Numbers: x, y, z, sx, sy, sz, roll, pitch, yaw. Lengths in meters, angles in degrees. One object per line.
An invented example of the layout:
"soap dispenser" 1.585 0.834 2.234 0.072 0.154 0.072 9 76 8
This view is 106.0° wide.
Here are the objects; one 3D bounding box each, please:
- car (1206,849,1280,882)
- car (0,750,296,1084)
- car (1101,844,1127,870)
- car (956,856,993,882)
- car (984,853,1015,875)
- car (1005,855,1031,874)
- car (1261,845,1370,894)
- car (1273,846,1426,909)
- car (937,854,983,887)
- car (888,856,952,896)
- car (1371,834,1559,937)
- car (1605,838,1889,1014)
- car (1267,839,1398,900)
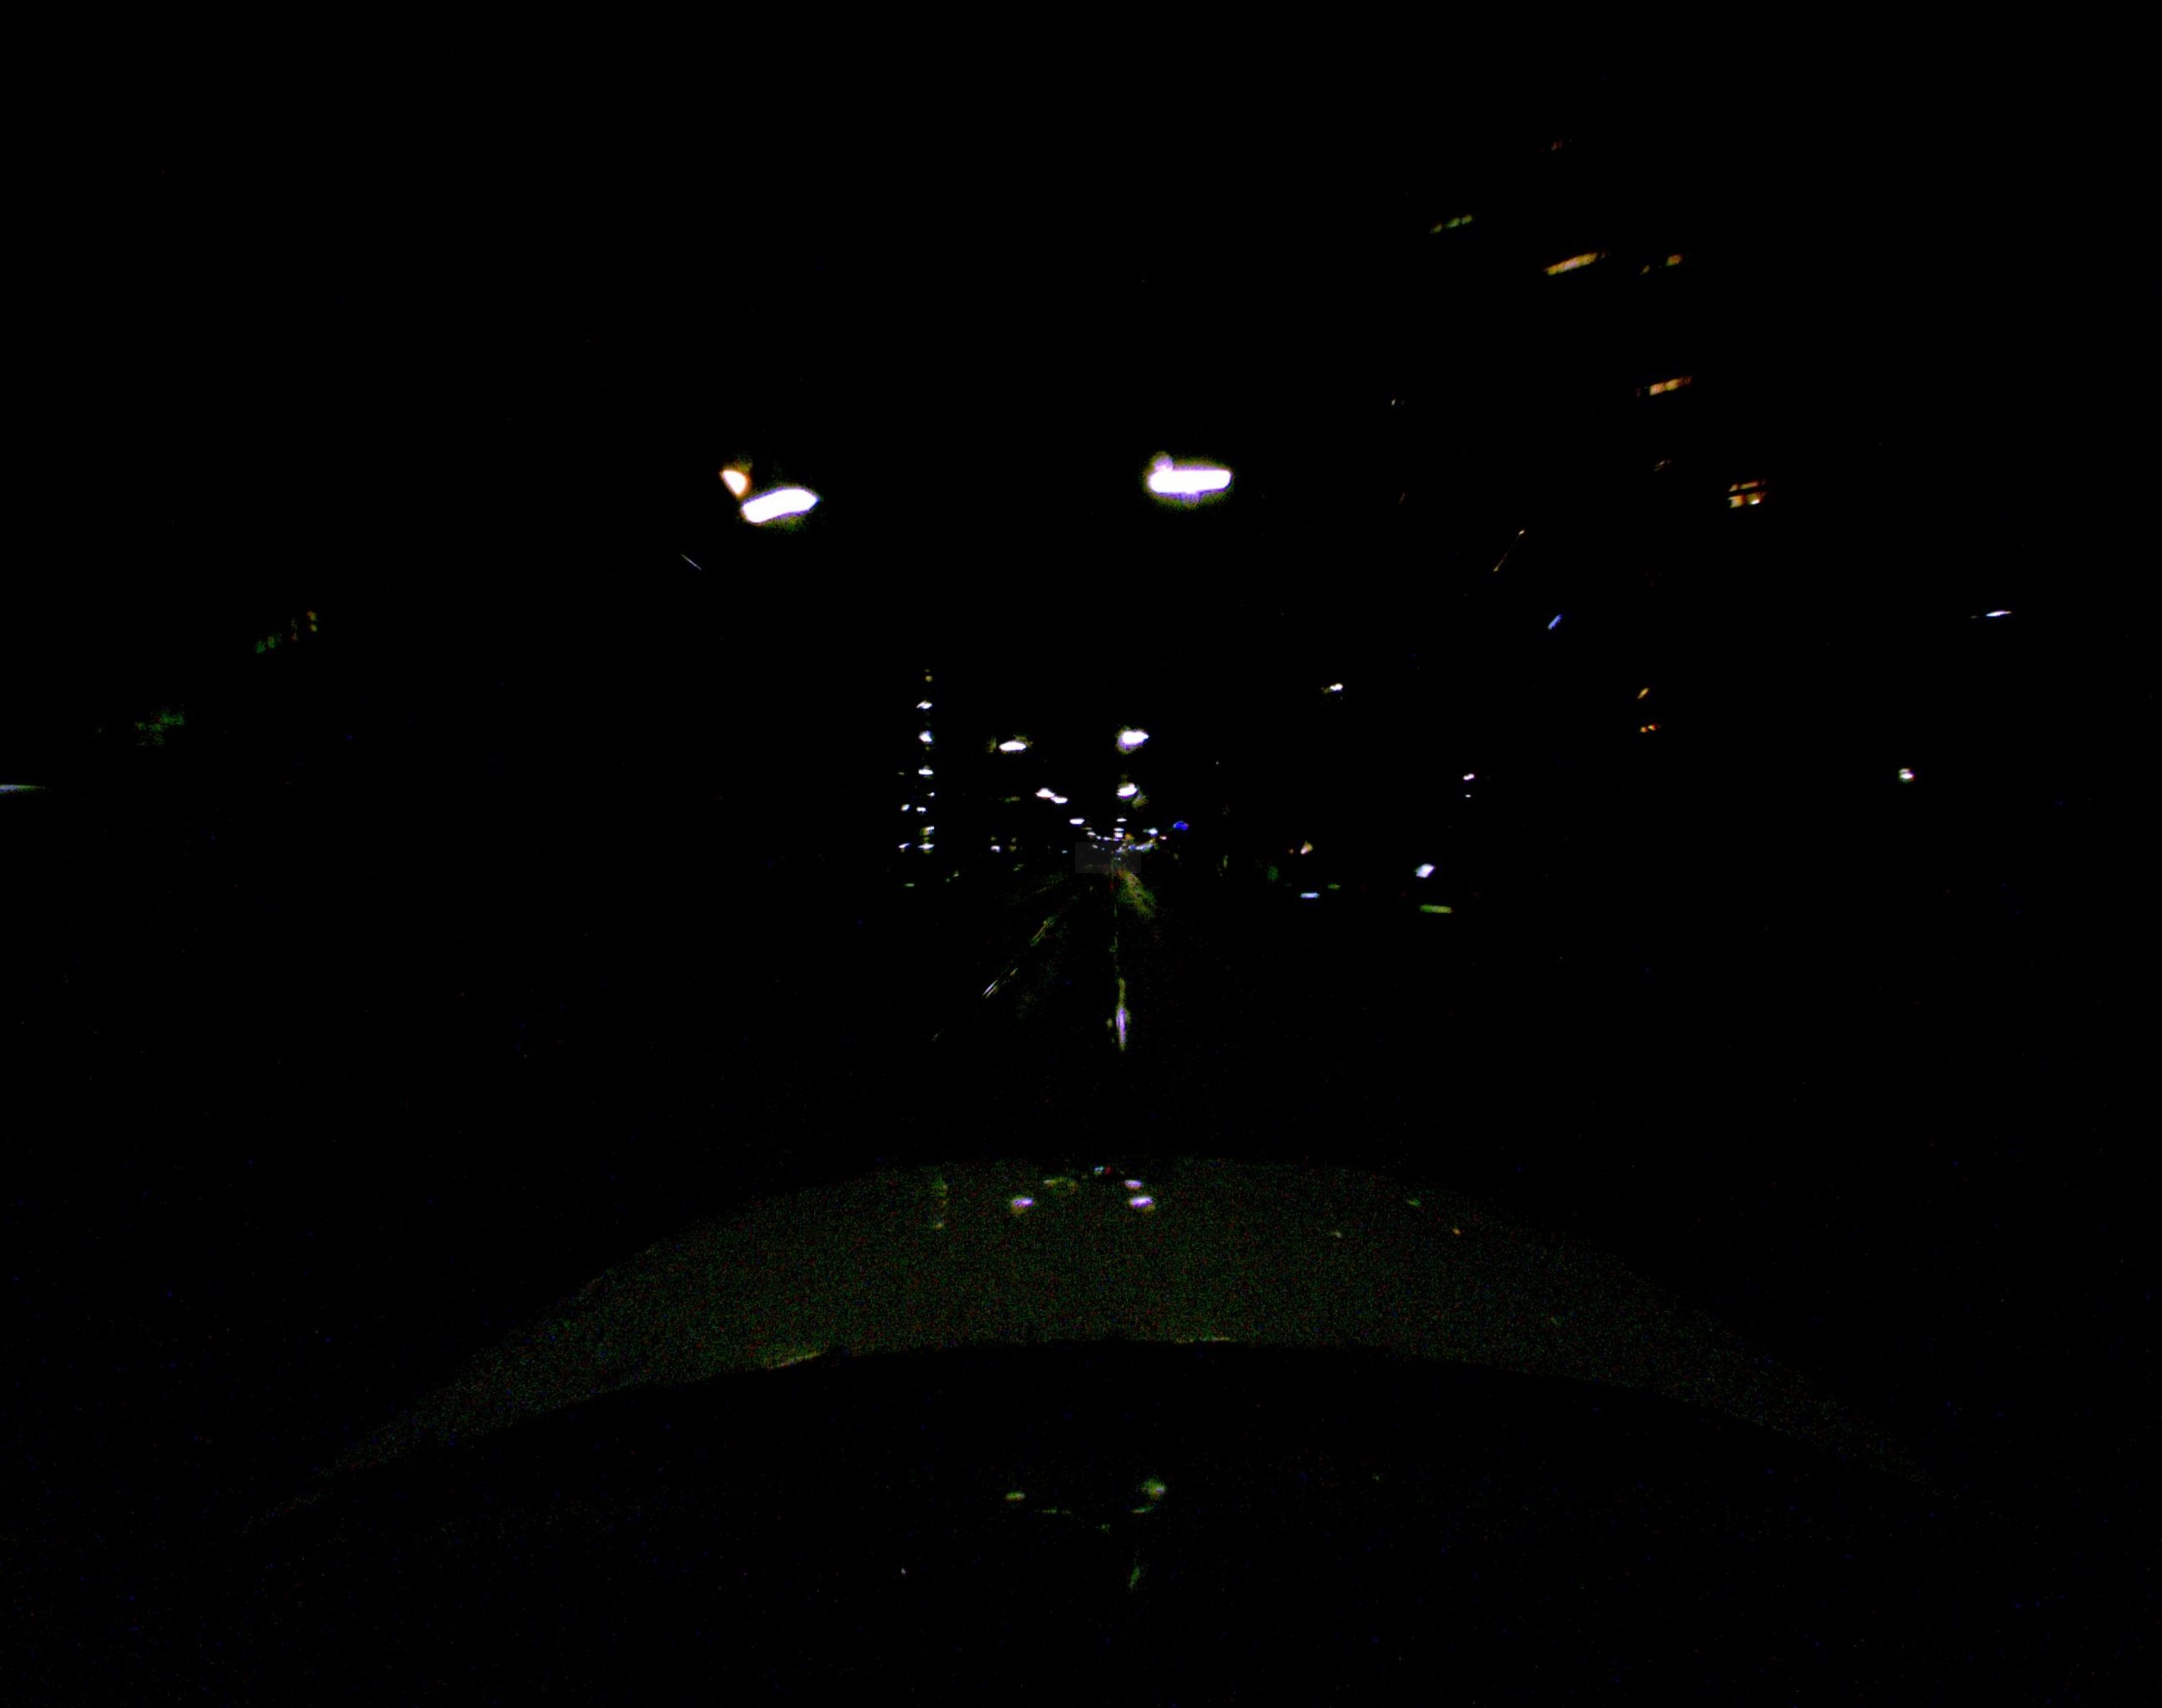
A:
"car" 8.108 0.557 40.490 1.886 1.572 3.987 0 0 41
"car" -9.089 0.461 5.554 2.018 2.499 5.606 1 0 0
"car" 3.120 0.255 77.996 2.209 2.441 5.384 0 0 0
"car" -7.622 1.049 58.584 2.015 1.761 4.001 1 -1 1
"car" -6.771 0.844 67.708 2.015 1.761 4.001 1 -1 1
"car" -6.082 1.012 79.021 2.015 1.761 4.001 1 -1 1
"car" 8.129 0.504 28.065 3.985 1.572 1.887 1 0 -44
"car" 7.044 0.559 21.147 4.271 1.454 1.928 1 0 -42
"car" -7.061 0.951 47.906 1.992 1.785 4.001 1 -1 2
"car" -7.662 1.026 39.273 2.102 1.764 4.964 1 -1 -1
"car" 7.148 0.502 14.997 2.030 1.623 3.851 0 0 43
"car" 7.070 0.574 8.510 3.848 1.430 1.618 0 0 -40
"car" 7.735 0.444 24.851 4.272 1.698 2.005 1 0 -44
